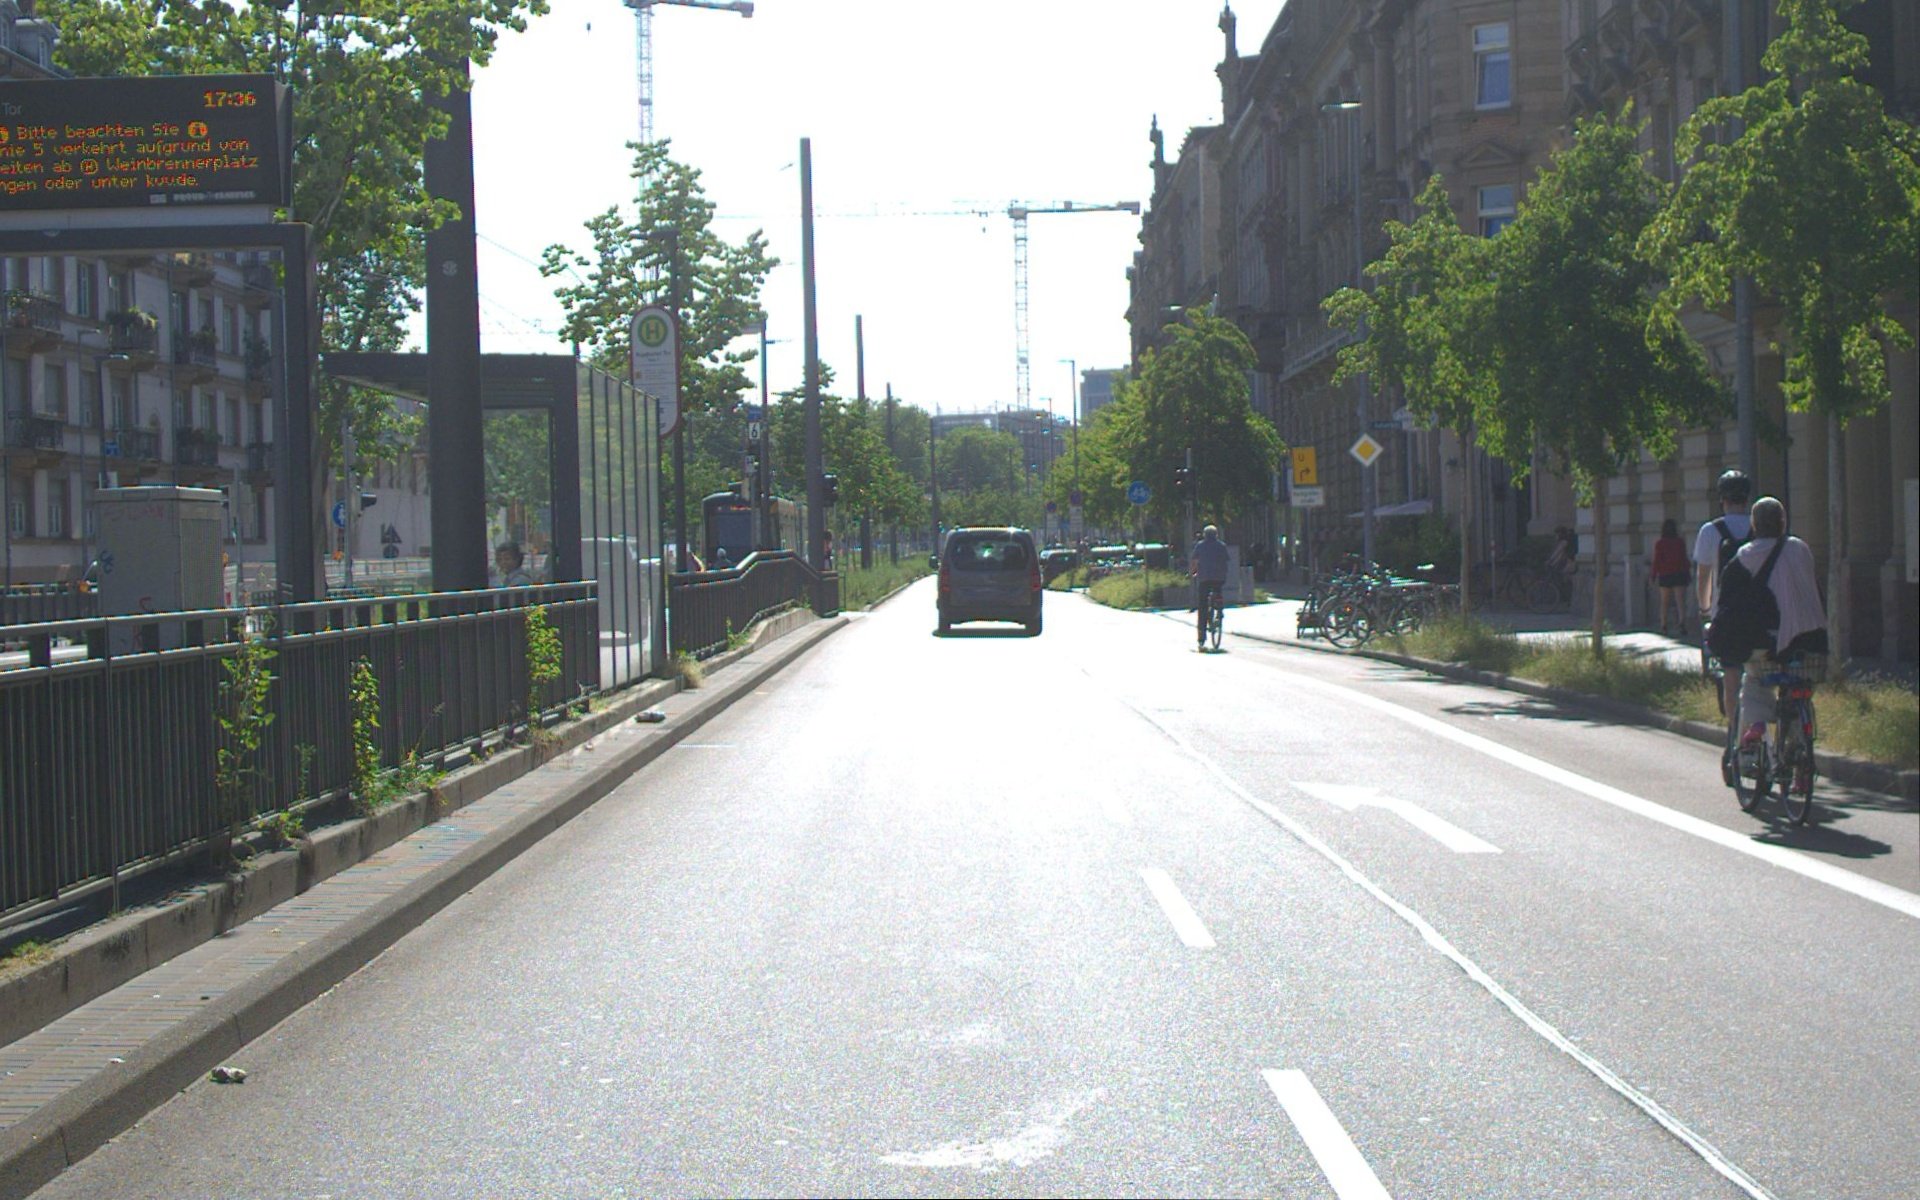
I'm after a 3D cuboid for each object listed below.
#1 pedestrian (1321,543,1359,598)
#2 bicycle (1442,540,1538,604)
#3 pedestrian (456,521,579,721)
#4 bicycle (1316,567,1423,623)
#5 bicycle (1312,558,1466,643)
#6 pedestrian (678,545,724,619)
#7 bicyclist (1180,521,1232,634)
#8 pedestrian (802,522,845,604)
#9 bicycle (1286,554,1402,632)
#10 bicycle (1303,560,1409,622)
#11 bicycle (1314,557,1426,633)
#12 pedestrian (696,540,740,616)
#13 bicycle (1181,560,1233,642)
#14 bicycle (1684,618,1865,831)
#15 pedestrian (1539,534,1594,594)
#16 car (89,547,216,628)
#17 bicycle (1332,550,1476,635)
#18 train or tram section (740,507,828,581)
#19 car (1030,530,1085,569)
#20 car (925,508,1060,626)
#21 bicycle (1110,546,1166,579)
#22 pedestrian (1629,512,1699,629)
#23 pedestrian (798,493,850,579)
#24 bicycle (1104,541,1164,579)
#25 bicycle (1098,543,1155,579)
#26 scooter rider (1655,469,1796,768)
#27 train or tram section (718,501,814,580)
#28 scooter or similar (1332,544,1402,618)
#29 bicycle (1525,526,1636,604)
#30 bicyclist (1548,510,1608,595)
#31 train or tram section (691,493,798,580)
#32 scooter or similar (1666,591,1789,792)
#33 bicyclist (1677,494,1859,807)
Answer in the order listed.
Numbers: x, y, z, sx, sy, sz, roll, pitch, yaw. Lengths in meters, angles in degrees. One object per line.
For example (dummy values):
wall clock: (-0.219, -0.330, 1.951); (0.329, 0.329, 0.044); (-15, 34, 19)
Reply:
pedestrian: (8.540, -0.665, 77.276); (0.706, 1.174, 0.635); (-3, 1, 0)
bicycle: (10.542, -0.560, 68.367); (1.817, 1.167, 0.654); (-2, 4, 4)
pedestrian: (-3.476, 0.154, 27.052); (0.813, 1.531, 0.798); (-1, 1, 2)
bicycle: (6.612, -0.077, 55.515); (1.670, 0.818, 0.606); (-2, 1, 7)
bicycle: (6.205, 0.005, 49.801); (1.994, 1.089, 0.847); (-4, 1, -9)
pedestrian: (-5.362, -0.380, 71.246); (0.865, 1.531, 0.909); (0, 1, 0)
bicyclist: (3.672, -0.339, 51.279); (0.684, 1.667, 0.922); (1, 1, -1)
pedestrian: (-2.979, -0.809, 74.900); (0.865, 1.782, 0.971); (0, 1, -6)
bicycle: (6.034, -0.110, 54.040); (1.723, 1.097, 0.607); (-4, 1, 4)
bicycle: (6.471, -0.148, 56.181); (1.670, 0.940, 0.606); (-2, 1, 7)
bicycle: (6.259, -0.075, 52.484); (1.600, 1.042, 0.607); (-4, 1, 4)
pedestrian: (-4.911, -0.444, 69.882); (0.813, 1.531, 0.798); (0, 1, 2)
bicycle: (3.660, 0.007, 50.965); (0.601, 1.177, 1.869); (1, 1, -1)
bicycle: (4.540, 0.670, 19.271); (0.557, 1.089, 1.792); (1, 1, -1)
pedestrian: (12.305, -0.728, 69.751); (0.849, 1.210, 0.934); (0, 1, -7)
car: (-18.443, -0.289, 78.694); (1.820, 1.788, 4.089); (0, 0, 2)
bicycle: (6.596, -0.113, 51.169); (1.995, 1.124, 0.710); (-4, 1, 1)
train or tram section: (-6.711, -2.116, 132.567); (2.756, 2.733, 9.863); (0, 0, 1)
car: (3.896, -2.033, 138.171); (2.028, 1.493, 4.654); (-2, 1, 0)
car: (0.540, -0.585, 59.899); (2.200, 1.919, 4.654); (-2, 1, 0)
bicycle: (5.868, -1.236, 113.618); (1.792, 1.027, 0.527); (-2, 1, 0)
pedestrian: (9.438, -0.403, 46.107); (0.709, 1.536, 0.927); (-2, 1, 0)
pedestrian: (-3.056, -1.442, 77.202); (1.075, 1.902, 0.653); (-2, 1, -6)
bicycle: (5.579, -1.287, 110.214); (1.792, 1.027, 0.527); (-6, 1, 0)
bicycle: (5.564, -1.315, 114.920); (1.792, 1.027, 0.527); (-6, 1, 0)
scooter rider: (4.849, 0.106, 21.827); (0.666, 1.854, 0.901); (1, 1, -1)
train or tram section: (-6.855, -2.067, 122.722); (2.756, 2.733, 9.863); (0, 0, 1)
scooter or similar: (6.815, -0.317, 57.586); (1.111, 1.185, 0.419); (-2, 1, 7)
bicycle: (11.872, -0.667, 65.821); (1.897, 1.326, 0.616); (-5, 1, 33)
bicyclist: (11.825, -0.905, 65.779); (0.799, 1.525, 0.661); (-5, 1, 33)
train or tram section: (-6.995, -2.017, 112.876); (2.756, 2.733, 9.863); (0, 0, 1)
scooter or similar: (4.855, 0.564, 21.803); (0.490, 1.222, 1.170); (1, 1, -1)
bicyclist: (4.502, 0.269, 19.205); (0.779, 1.705, 0.869); (1, 1, -1)
